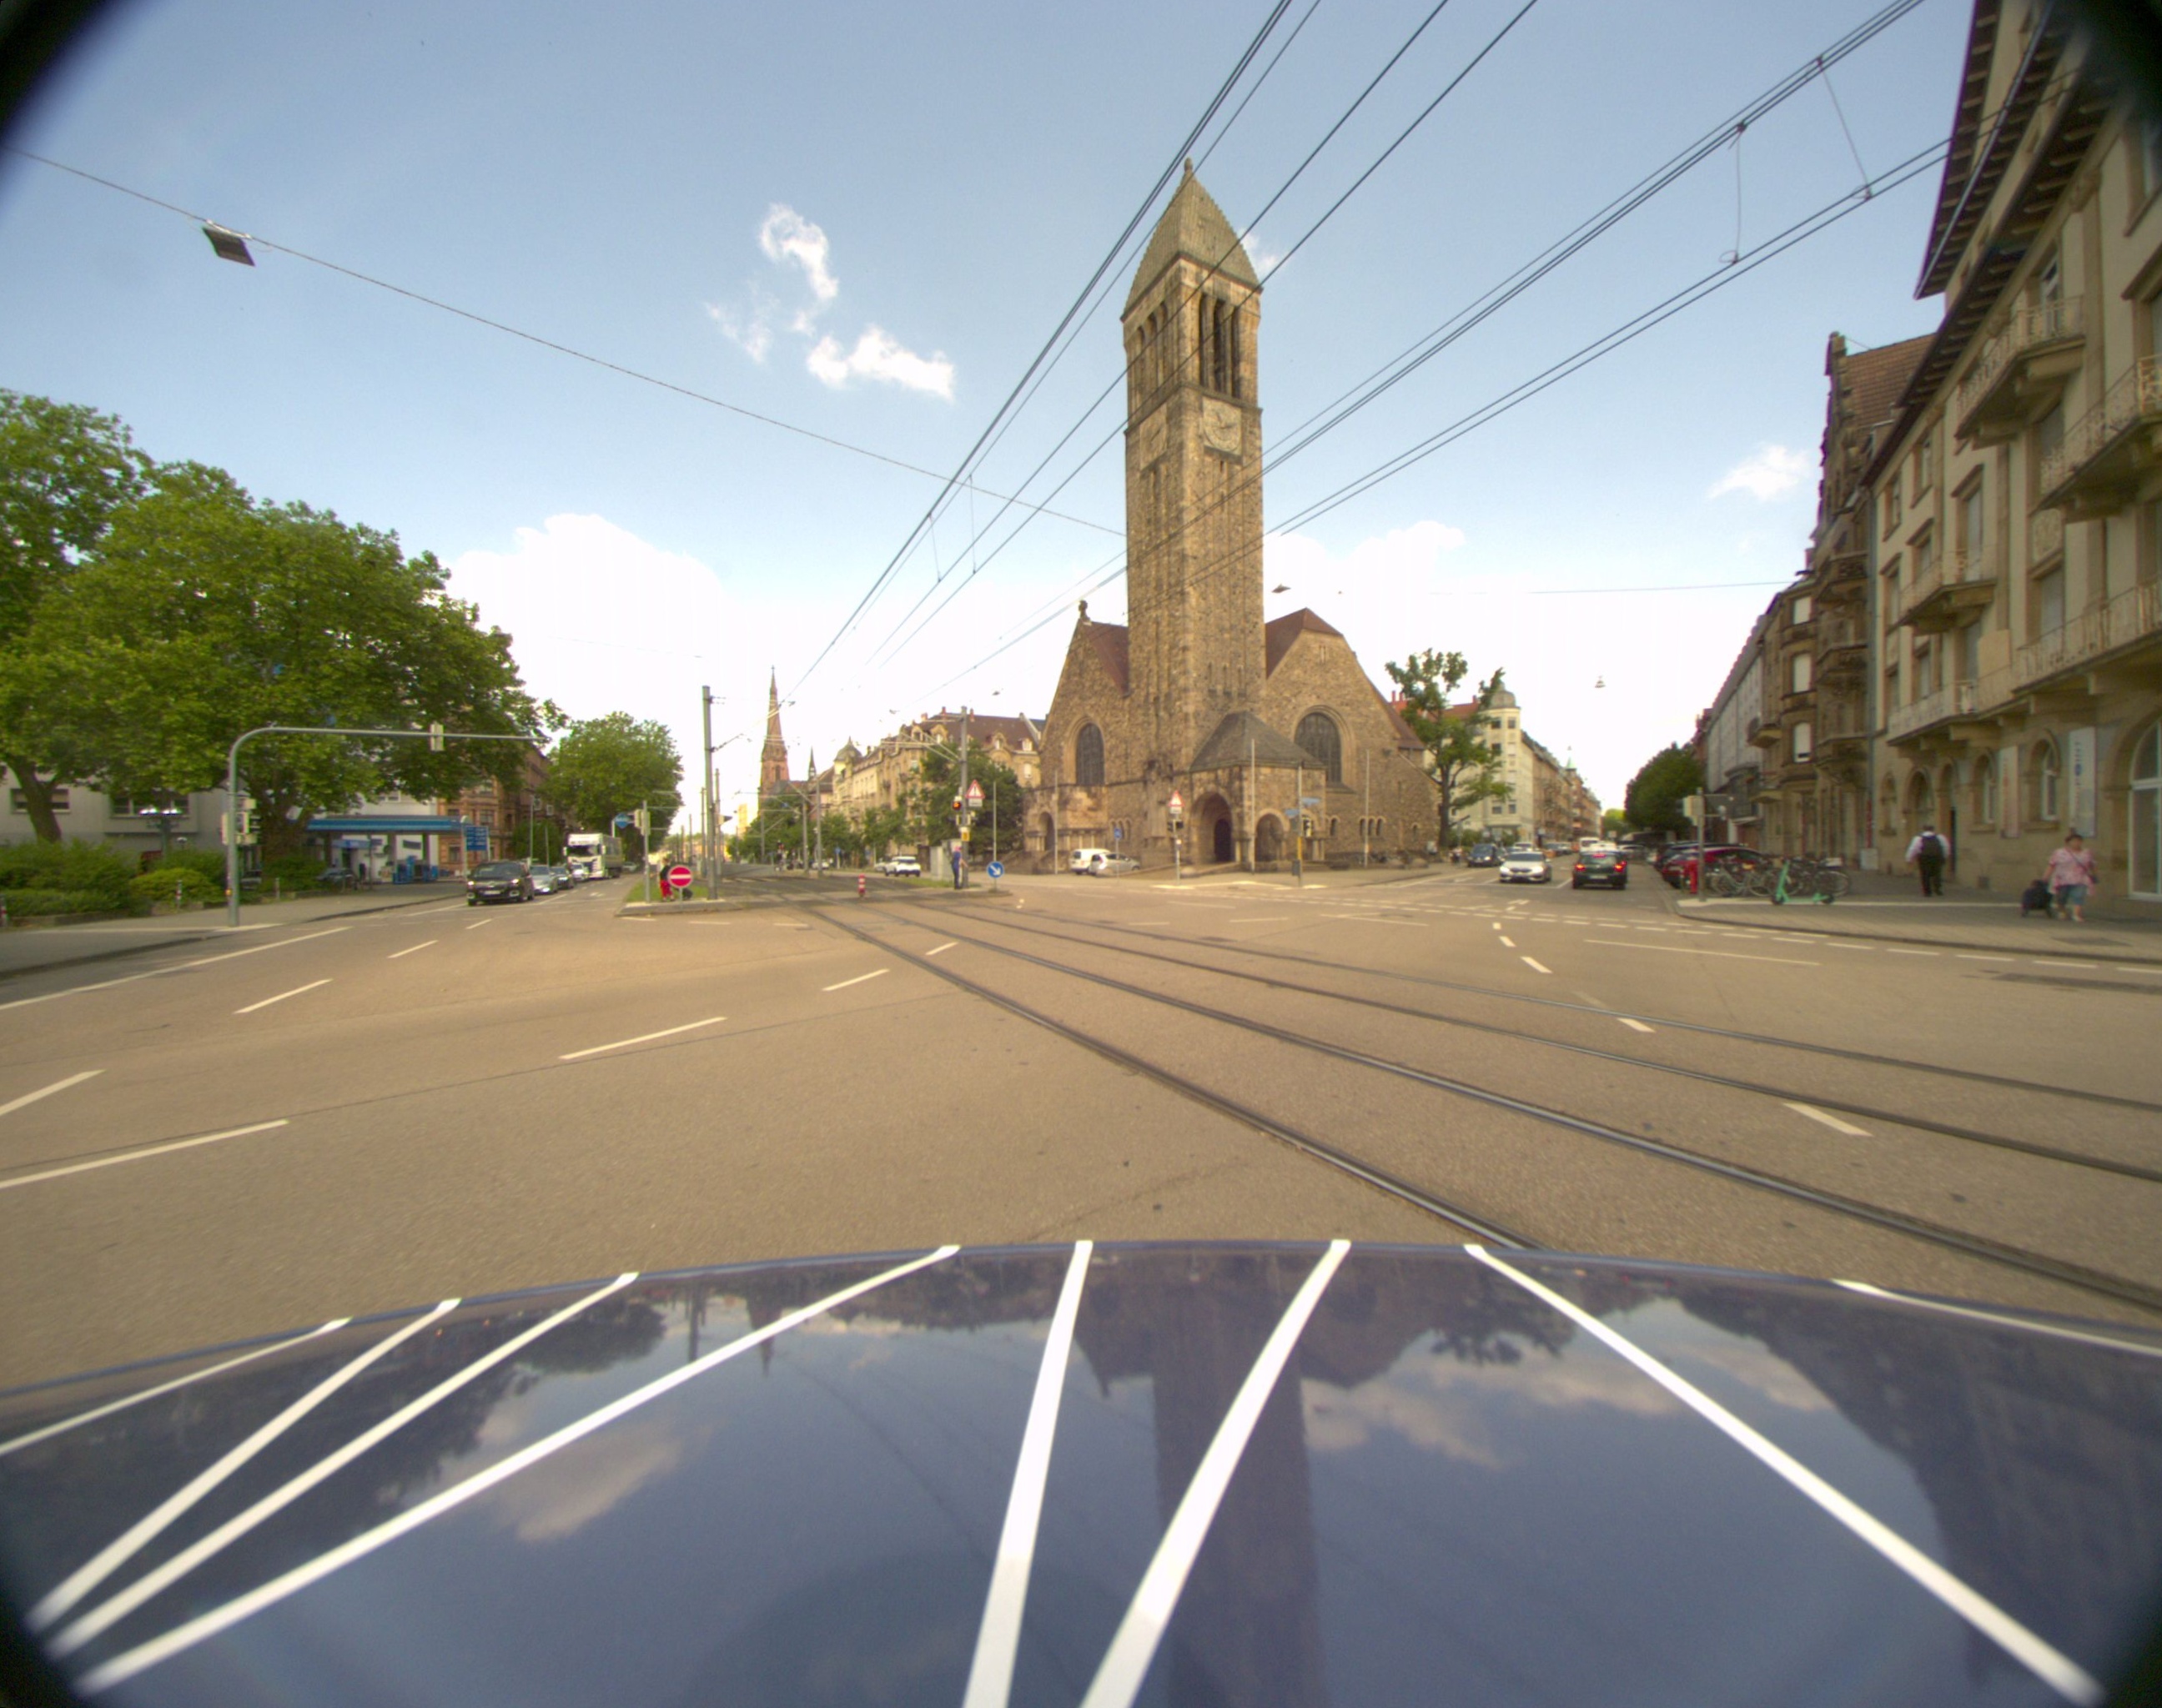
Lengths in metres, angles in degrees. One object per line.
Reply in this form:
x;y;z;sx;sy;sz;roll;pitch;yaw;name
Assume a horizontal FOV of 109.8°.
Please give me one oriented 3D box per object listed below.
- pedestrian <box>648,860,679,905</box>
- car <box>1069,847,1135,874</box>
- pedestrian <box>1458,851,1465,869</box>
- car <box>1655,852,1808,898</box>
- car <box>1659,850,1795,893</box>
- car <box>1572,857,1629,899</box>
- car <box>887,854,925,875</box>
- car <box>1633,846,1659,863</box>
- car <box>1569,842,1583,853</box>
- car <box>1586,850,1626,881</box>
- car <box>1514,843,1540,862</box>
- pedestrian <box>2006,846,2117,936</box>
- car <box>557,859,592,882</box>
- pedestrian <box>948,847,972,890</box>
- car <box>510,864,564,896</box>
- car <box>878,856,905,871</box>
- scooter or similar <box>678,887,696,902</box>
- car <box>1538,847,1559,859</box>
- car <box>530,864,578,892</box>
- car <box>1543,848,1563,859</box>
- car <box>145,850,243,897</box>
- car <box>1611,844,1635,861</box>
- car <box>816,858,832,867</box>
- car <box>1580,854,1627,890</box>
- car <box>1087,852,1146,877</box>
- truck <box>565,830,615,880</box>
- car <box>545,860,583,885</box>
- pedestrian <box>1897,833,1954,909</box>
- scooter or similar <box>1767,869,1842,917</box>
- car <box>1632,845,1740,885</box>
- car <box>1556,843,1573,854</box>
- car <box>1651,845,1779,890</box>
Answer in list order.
-14.411;0.960;26.236;0.777;1.483;0.656;-3;2;-41;pedestrian
1.511;0.485;54.852;4.312;1.842;1.996;1;-1;-29;car
30.346;0.459;60.627;0.465;1.447;0.557;0;1;32;pedestrian
23.700;0.763;27.782;3.997;1.448;1.812;-3;-1;-1;car
25.633;0.716;30.224;3.953;1.448;1.731;-3;-2;-4;car
20.598;0.892;30.083;1.714;1.425;3.825;1;2;36;car
-13.109;0.773;56.863;1.823;1.497;4.122;-2;0;-27;car
53.364;0.018;71.711;1.887;1.556;3.898;0;1;38;car
91.444;-1.245;140.252;1.806;1.901;4.195;0;1;38;car
29.905;0.622;43.213;1.771;1.573;4.028;1;2;36;car
46.800;-0.195;79.625;1.840;1.927;4.195;0;1;38;car
17.957;0.671;13.948;0.942;1.585;0.998;-4;-2;37;pedestrian
-39.547;1.230;59.405;1.857;1.695;4.125;-1;1;-28;car
-4.922;0.568;30.887;0.773;1.721;0.742;-1;1;-29;pedestrian
-28.017;1.286;39.242;1.737;1.457;4.317;-1;1;-28;car
-19.754;0.980;79.180;1.792;1.486;3.829;-2;0;-28;car
-13.923;1.429;26.860;0.522;0.532;0.309;1;0;-41;scooter or similar
58.029;-0.121;94.301;1.806;1.360;4.195;0;1;38;car
-31.528;1.388;45.572;1.857;1.438;3.964;-1;1;-27;car
61.193;-0.071;98.498;1.806;1.360;4.195;0;1;38;car
-48.836;1.028;41.942;2.116;2.406;3.990;-1;1;-28;car
56.181;-0.163;78.773;1.887;1.641;3.898;0;1;38;car
-37.456;1.232;110.835;1.658;1.226;3.056;-2;0;-28;car
24.755;0.796;35.949;1.748;1.531;3.940;0;1;36;car
2.409;0.721;51.566;3.644;1.668;1.814;1;-2;-32;car
-42.821;0.075;66.432;2.921;4.125;6.575;-1;1;-27;truck
-34.376;1.213;50.638;1.689;1.554;3.744;-1;1;-28;car
21.315;0.414;19.190;0.803;1.850;0.907;-1;3;37;pedestrian
18.123;0.975;19.057;0.482;1.139;1.250;-2;0;-36;scooter or similar
30.465;0.559;38.360;3.950;1.857;1.732;-2;0;3;car
74.302;-0.839;116.720;1.806;1.756;4.195;0;1;38;car
27.227;0.604;32.710;3.952;1.679;1.803;-3;-2;-3;car
